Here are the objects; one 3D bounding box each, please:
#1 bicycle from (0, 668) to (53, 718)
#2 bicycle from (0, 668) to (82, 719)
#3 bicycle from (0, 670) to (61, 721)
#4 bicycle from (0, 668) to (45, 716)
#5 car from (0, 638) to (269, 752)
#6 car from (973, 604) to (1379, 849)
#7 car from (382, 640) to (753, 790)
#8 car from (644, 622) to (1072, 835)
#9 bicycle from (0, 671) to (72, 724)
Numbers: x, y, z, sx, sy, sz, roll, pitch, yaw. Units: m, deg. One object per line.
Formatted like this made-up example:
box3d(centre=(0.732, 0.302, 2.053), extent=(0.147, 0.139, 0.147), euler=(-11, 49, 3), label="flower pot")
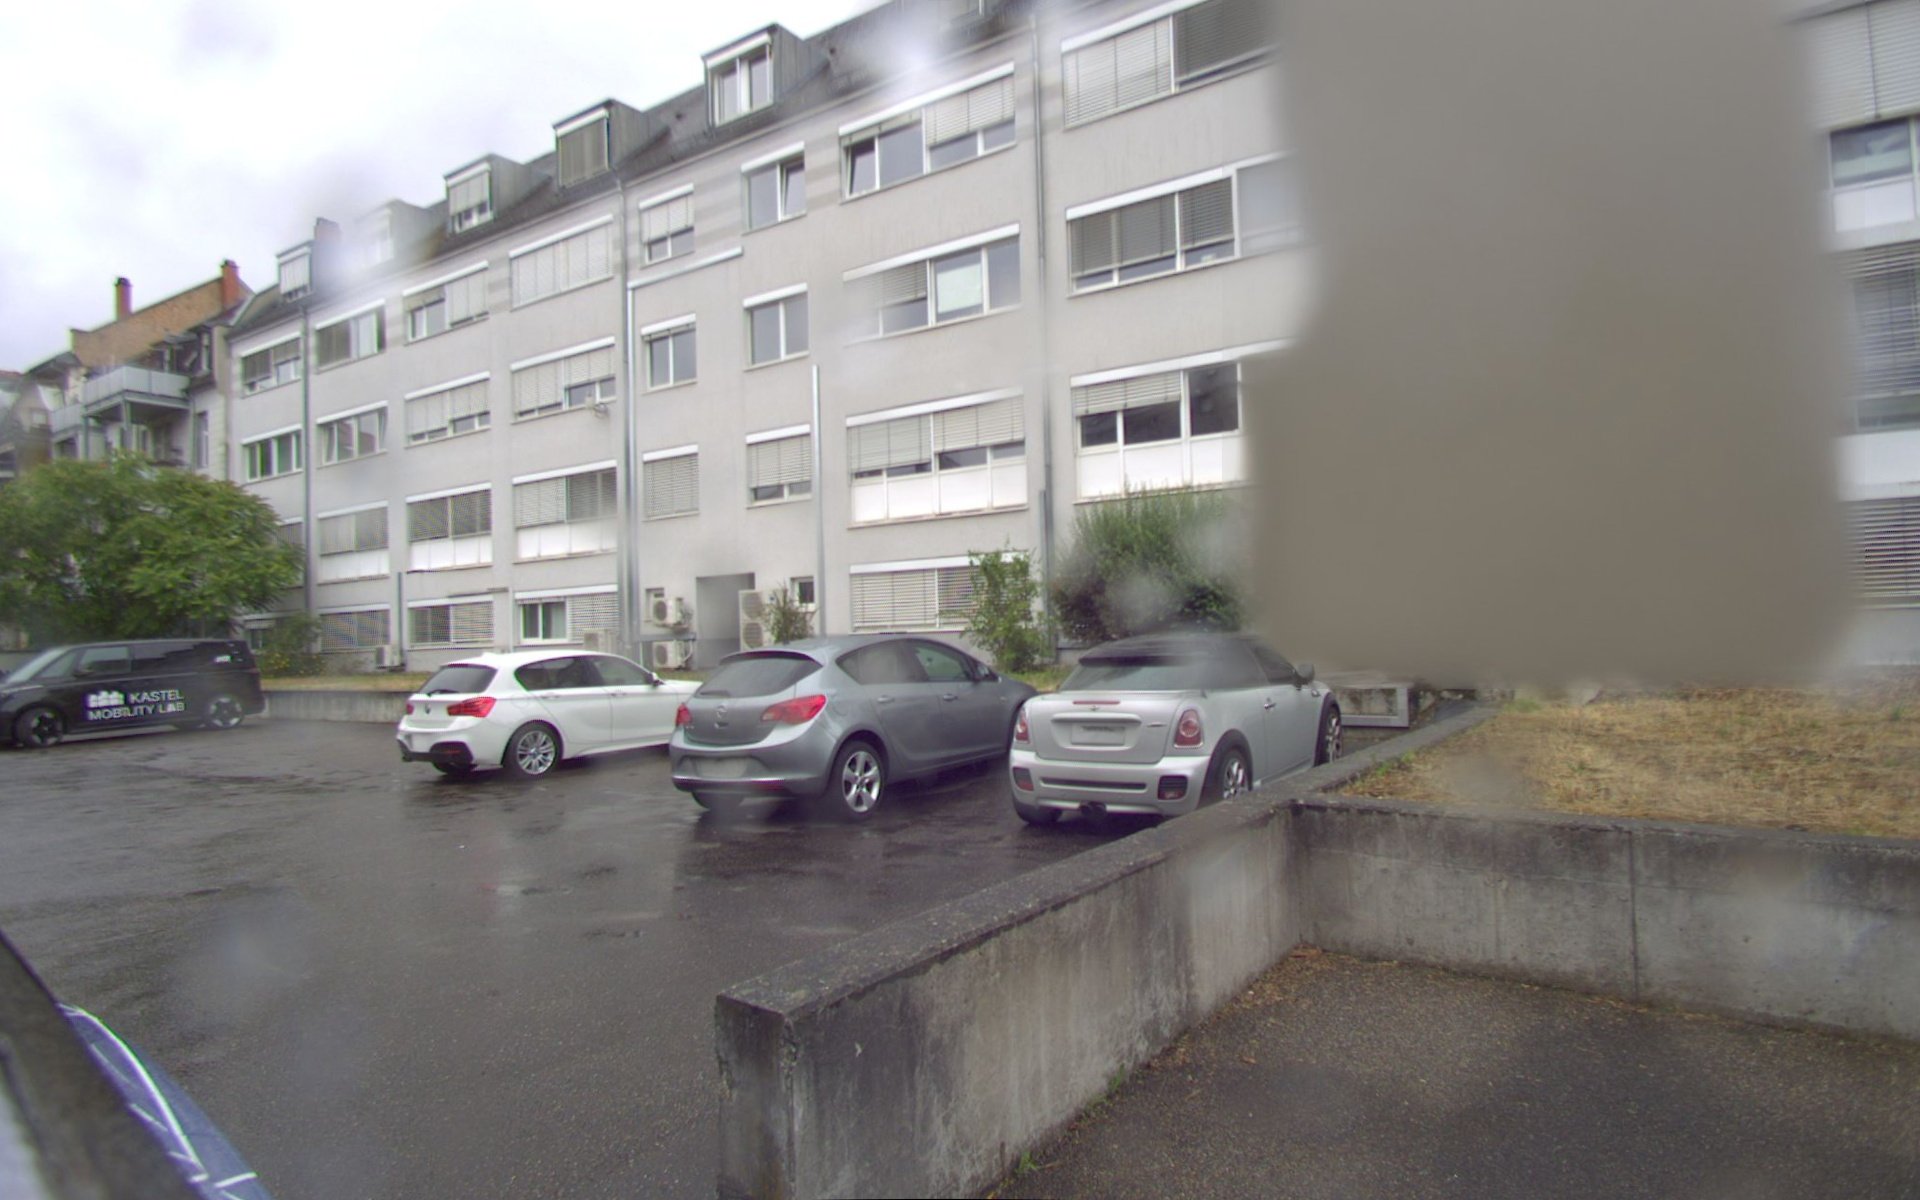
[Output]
box3d(centre=(-24.968, 2.430, 26.083), extent=(0.642, 1.195, 2.291), euler=(-1, -1, 38), label="bicycle")
box3d(centre=(-24.262, 2.426, 26.172), extent=(0.642, 1.195, 2.291), euler=(-1, -1, 38), label="bicycle")
box3d(centre=(-24.077, 2.420, 25.328), extent=(0.642, 1.195, 2.291), euler=(-1, -1, 38), label="bicycle")
box3d(centre=(-25.492, 2.436, 26.437), extent=(0.642, 1.195, 2.291), euler=(-1, -1, 38), label="bicycle")
box3d(centre=(-16.613, 1.798, 19.905), extent=(1.981, 1.851, 4.583), euler=(-5, -2, 30), label="car")
box3d(centre=(2.036, 0.835, 8.436), extent=(1.818, 1.343, 4.131), euler=(-4, 0, 34), label="car")
box3d(centre=(-4.706, 1.301, 12.715), extent=(1.748, 1.444, 4.106), euler=(-3, -2, 33), label="car")
box3d(centre=(-0.717, 1.027, 9.593), extent=(1.817, 1.495, 4.132), euler=(-4, -3, 33), label="car")
box3d(centre=(-23.404, 2.413, 24.894), extent=(0.642, 1.195, 2.291), euler=(-1, -1, 38), label="bicycle")
